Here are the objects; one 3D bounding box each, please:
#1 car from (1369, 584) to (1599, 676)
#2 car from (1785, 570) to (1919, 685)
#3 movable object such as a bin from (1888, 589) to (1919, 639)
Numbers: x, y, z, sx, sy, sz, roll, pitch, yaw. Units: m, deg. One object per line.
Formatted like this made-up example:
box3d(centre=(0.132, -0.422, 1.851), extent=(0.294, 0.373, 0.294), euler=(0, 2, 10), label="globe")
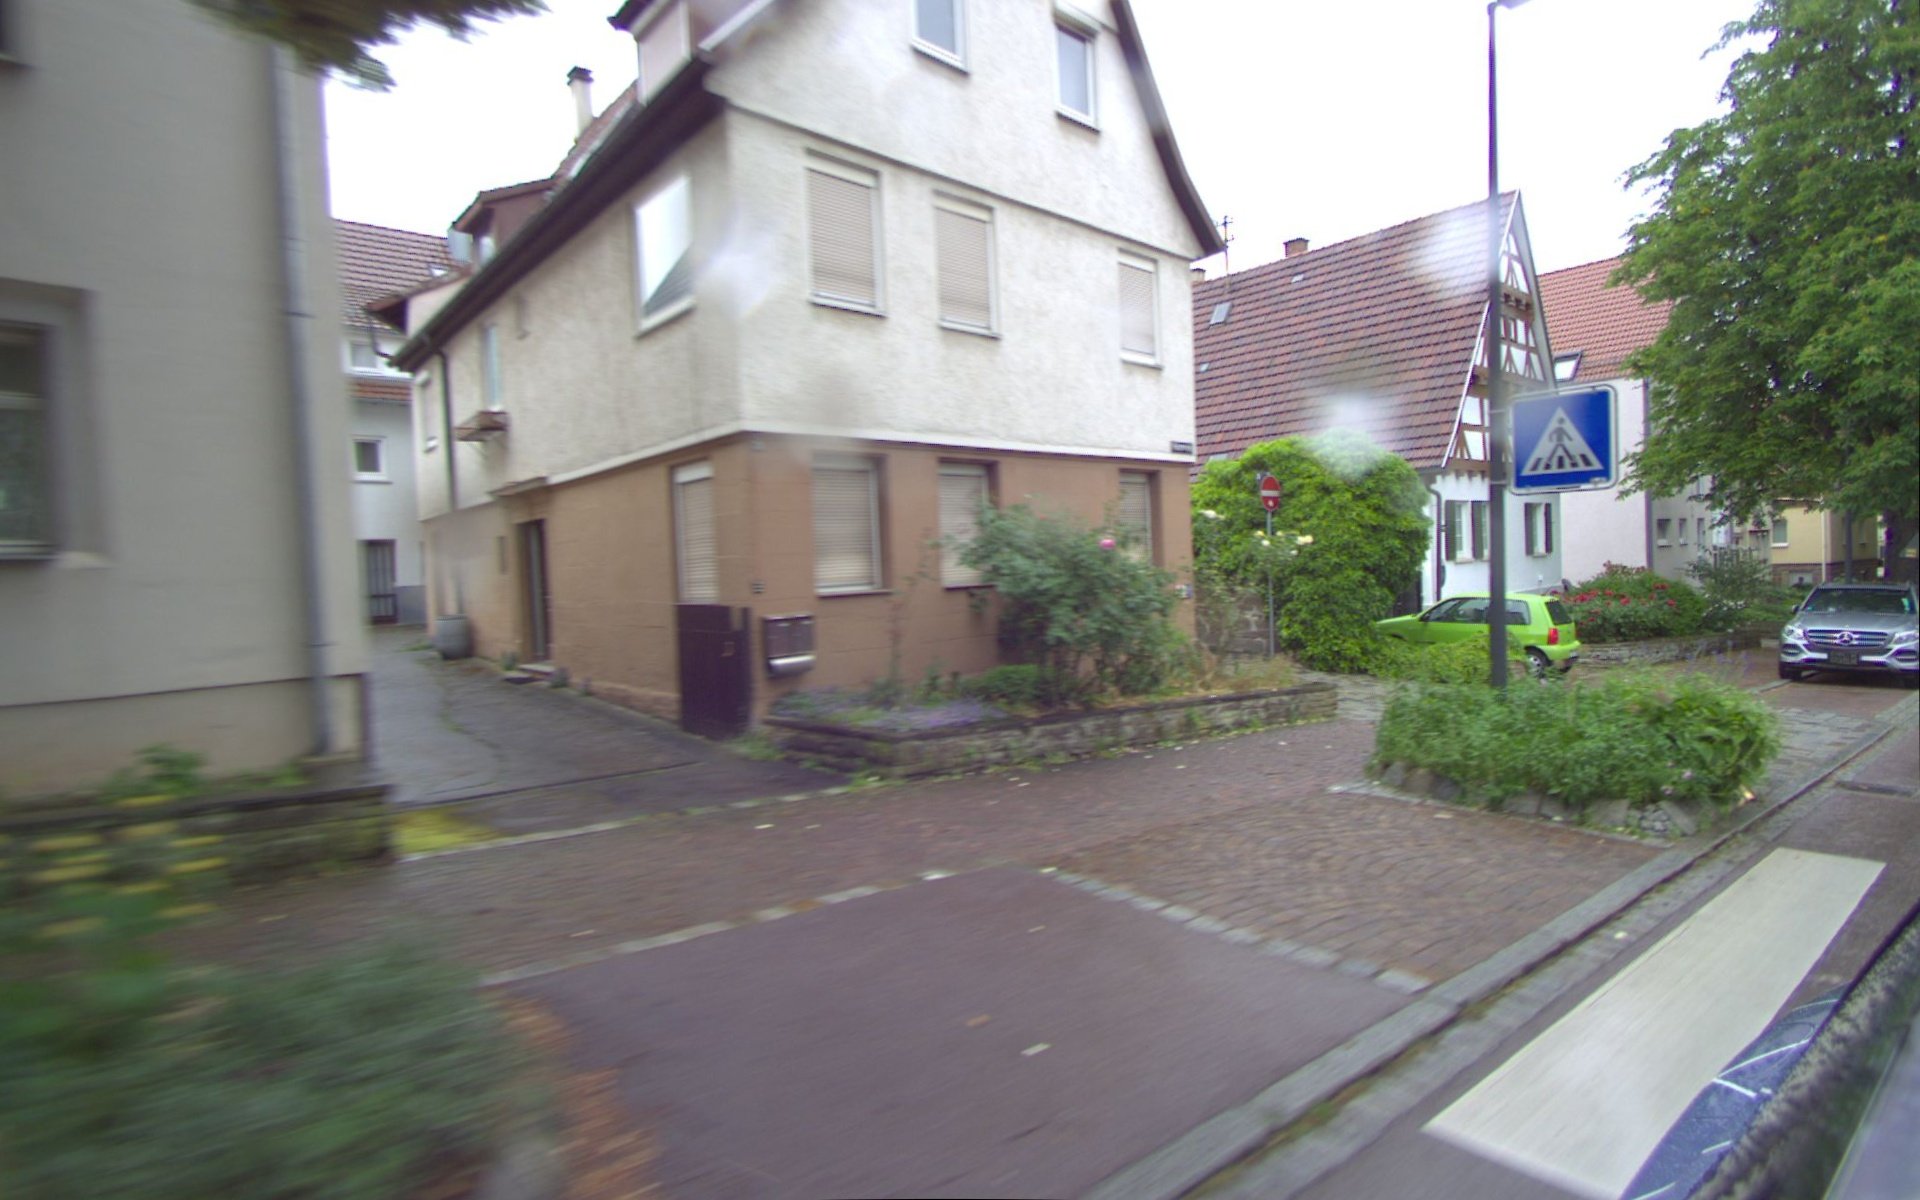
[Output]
box3d(centre=(9.430, 0.464, 18.366), extent=(1.604, 1.448, 3.368), euler=(-1, 2, -44), label="car")
box3d(centre=(16.439, 0.409, 18.107), extent=(4.411, 1.815, 1.917), euler=(-1, 0, -42), label="car")
box3d(centre=(26.429, 0.375, 27.787), extent=(1.113, 1.332, 1.227), euler=(-1, 1, -38), label="movable object such as a bin")
